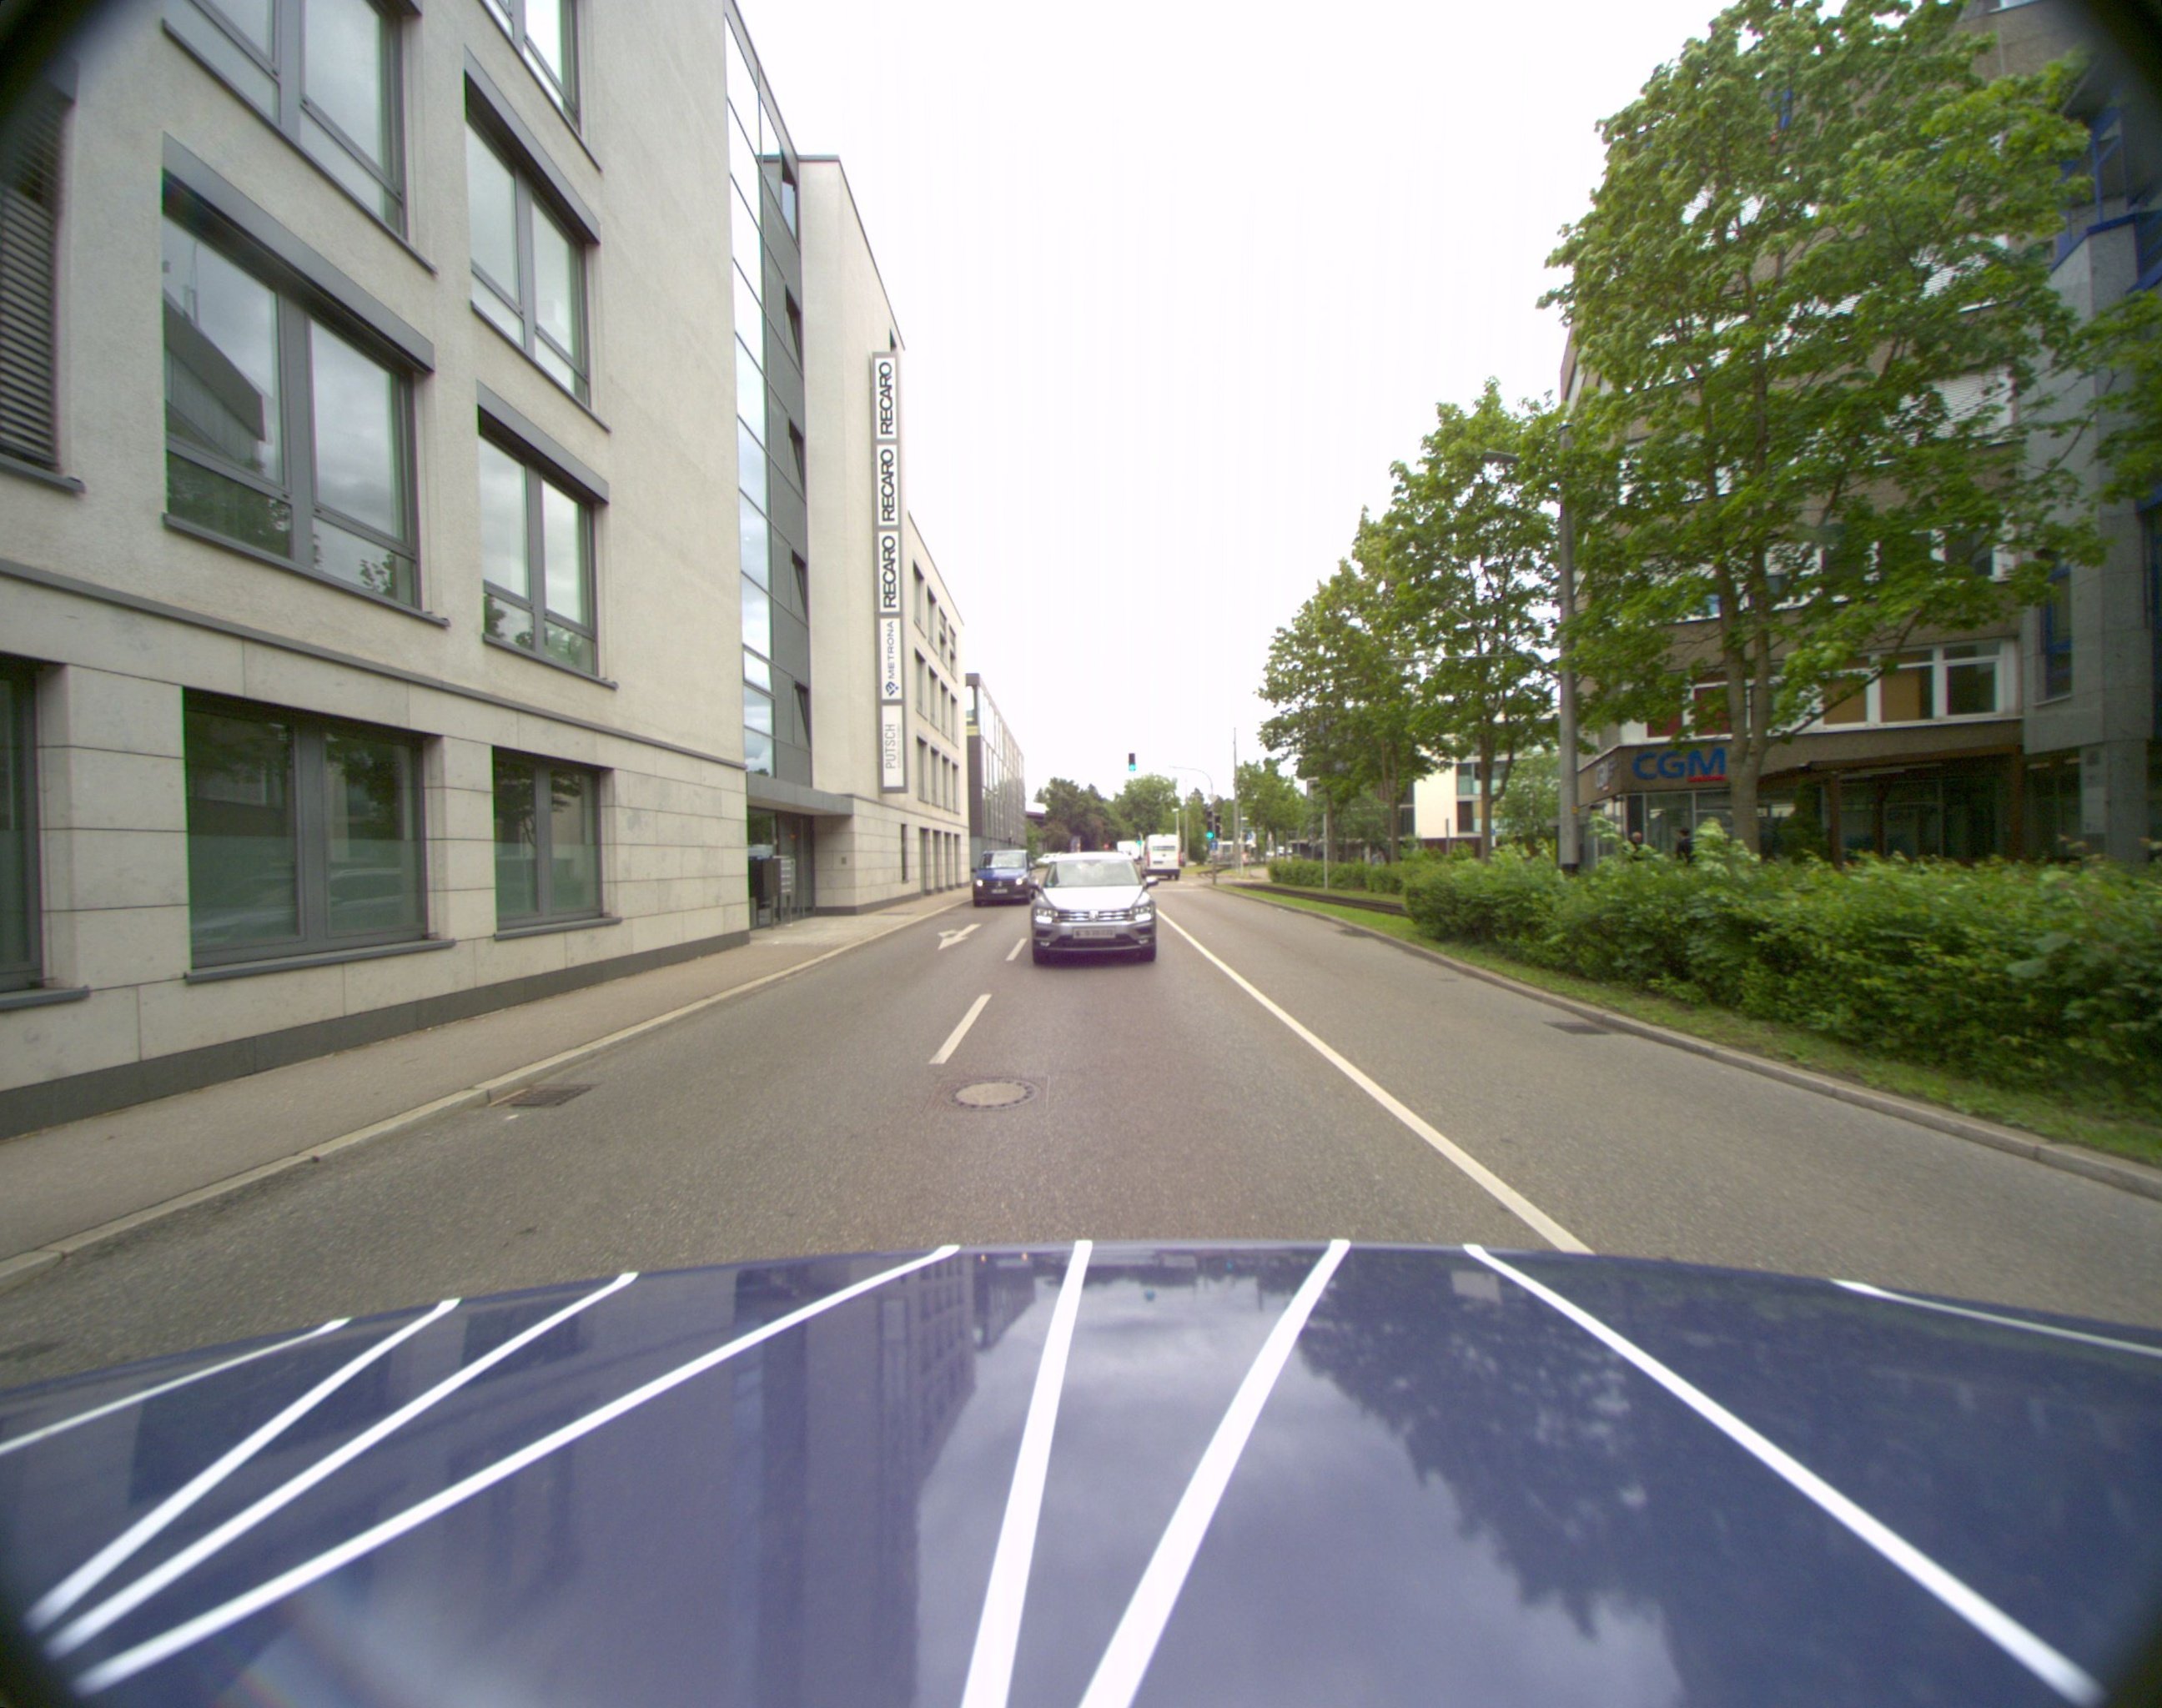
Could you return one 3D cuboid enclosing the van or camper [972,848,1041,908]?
[{"bbox_3d":[-2.537,0.771,27.094,1.864,1.900,5.032,-1,0,0],"label":"van or camper"}]

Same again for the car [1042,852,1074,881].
[{"bbox_3d":[-1.550,0.822,52.342,1.998,1.805,3.999,-2,1,1],"label":"car"}]

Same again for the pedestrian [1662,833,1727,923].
[{"bbox_3d":[13.467,0.519,16.689,0.816,1.912,0.731,-2,1,0],"label":"pedestrian"}]

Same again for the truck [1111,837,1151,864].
[{"bbox_3d":[7.367,-0.561,110.881,2.317,3.626,8.024,-1,1,31],"label":"truck"}]

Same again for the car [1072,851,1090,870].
[{"bbox_3d":[0.081,0.740,89.889,1.998,2.002,3.999,-2,1,1],"label":"car"}]

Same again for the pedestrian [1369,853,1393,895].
[{"bbox_3d":[13.138,0.875,33.242,0.680,1.795,0.731,-2,1,-4],"label":"pedestrian"}]

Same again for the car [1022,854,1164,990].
[{"bbox_3d":[0.173,0.878,12.031,1.798,1.716,4.458,-1,0,0],"label":"car"}]

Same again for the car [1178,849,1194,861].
[{"bbox_3d":[19.452,0.234,140.775,1.995,2.002,4.006,-2,1,24],"label":"car"}]

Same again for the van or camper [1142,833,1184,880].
[{"bbox_3d":[5.125,0.121,48.291,2.112,2.718,6.151,-2,1,2],"label":"van or camper"}]

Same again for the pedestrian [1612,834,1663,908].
[{"bbox_3d":[14.673,0.430,20.050,0.776,1.883,0.731,-2,1,-1],"label":"pedestrian"}]
